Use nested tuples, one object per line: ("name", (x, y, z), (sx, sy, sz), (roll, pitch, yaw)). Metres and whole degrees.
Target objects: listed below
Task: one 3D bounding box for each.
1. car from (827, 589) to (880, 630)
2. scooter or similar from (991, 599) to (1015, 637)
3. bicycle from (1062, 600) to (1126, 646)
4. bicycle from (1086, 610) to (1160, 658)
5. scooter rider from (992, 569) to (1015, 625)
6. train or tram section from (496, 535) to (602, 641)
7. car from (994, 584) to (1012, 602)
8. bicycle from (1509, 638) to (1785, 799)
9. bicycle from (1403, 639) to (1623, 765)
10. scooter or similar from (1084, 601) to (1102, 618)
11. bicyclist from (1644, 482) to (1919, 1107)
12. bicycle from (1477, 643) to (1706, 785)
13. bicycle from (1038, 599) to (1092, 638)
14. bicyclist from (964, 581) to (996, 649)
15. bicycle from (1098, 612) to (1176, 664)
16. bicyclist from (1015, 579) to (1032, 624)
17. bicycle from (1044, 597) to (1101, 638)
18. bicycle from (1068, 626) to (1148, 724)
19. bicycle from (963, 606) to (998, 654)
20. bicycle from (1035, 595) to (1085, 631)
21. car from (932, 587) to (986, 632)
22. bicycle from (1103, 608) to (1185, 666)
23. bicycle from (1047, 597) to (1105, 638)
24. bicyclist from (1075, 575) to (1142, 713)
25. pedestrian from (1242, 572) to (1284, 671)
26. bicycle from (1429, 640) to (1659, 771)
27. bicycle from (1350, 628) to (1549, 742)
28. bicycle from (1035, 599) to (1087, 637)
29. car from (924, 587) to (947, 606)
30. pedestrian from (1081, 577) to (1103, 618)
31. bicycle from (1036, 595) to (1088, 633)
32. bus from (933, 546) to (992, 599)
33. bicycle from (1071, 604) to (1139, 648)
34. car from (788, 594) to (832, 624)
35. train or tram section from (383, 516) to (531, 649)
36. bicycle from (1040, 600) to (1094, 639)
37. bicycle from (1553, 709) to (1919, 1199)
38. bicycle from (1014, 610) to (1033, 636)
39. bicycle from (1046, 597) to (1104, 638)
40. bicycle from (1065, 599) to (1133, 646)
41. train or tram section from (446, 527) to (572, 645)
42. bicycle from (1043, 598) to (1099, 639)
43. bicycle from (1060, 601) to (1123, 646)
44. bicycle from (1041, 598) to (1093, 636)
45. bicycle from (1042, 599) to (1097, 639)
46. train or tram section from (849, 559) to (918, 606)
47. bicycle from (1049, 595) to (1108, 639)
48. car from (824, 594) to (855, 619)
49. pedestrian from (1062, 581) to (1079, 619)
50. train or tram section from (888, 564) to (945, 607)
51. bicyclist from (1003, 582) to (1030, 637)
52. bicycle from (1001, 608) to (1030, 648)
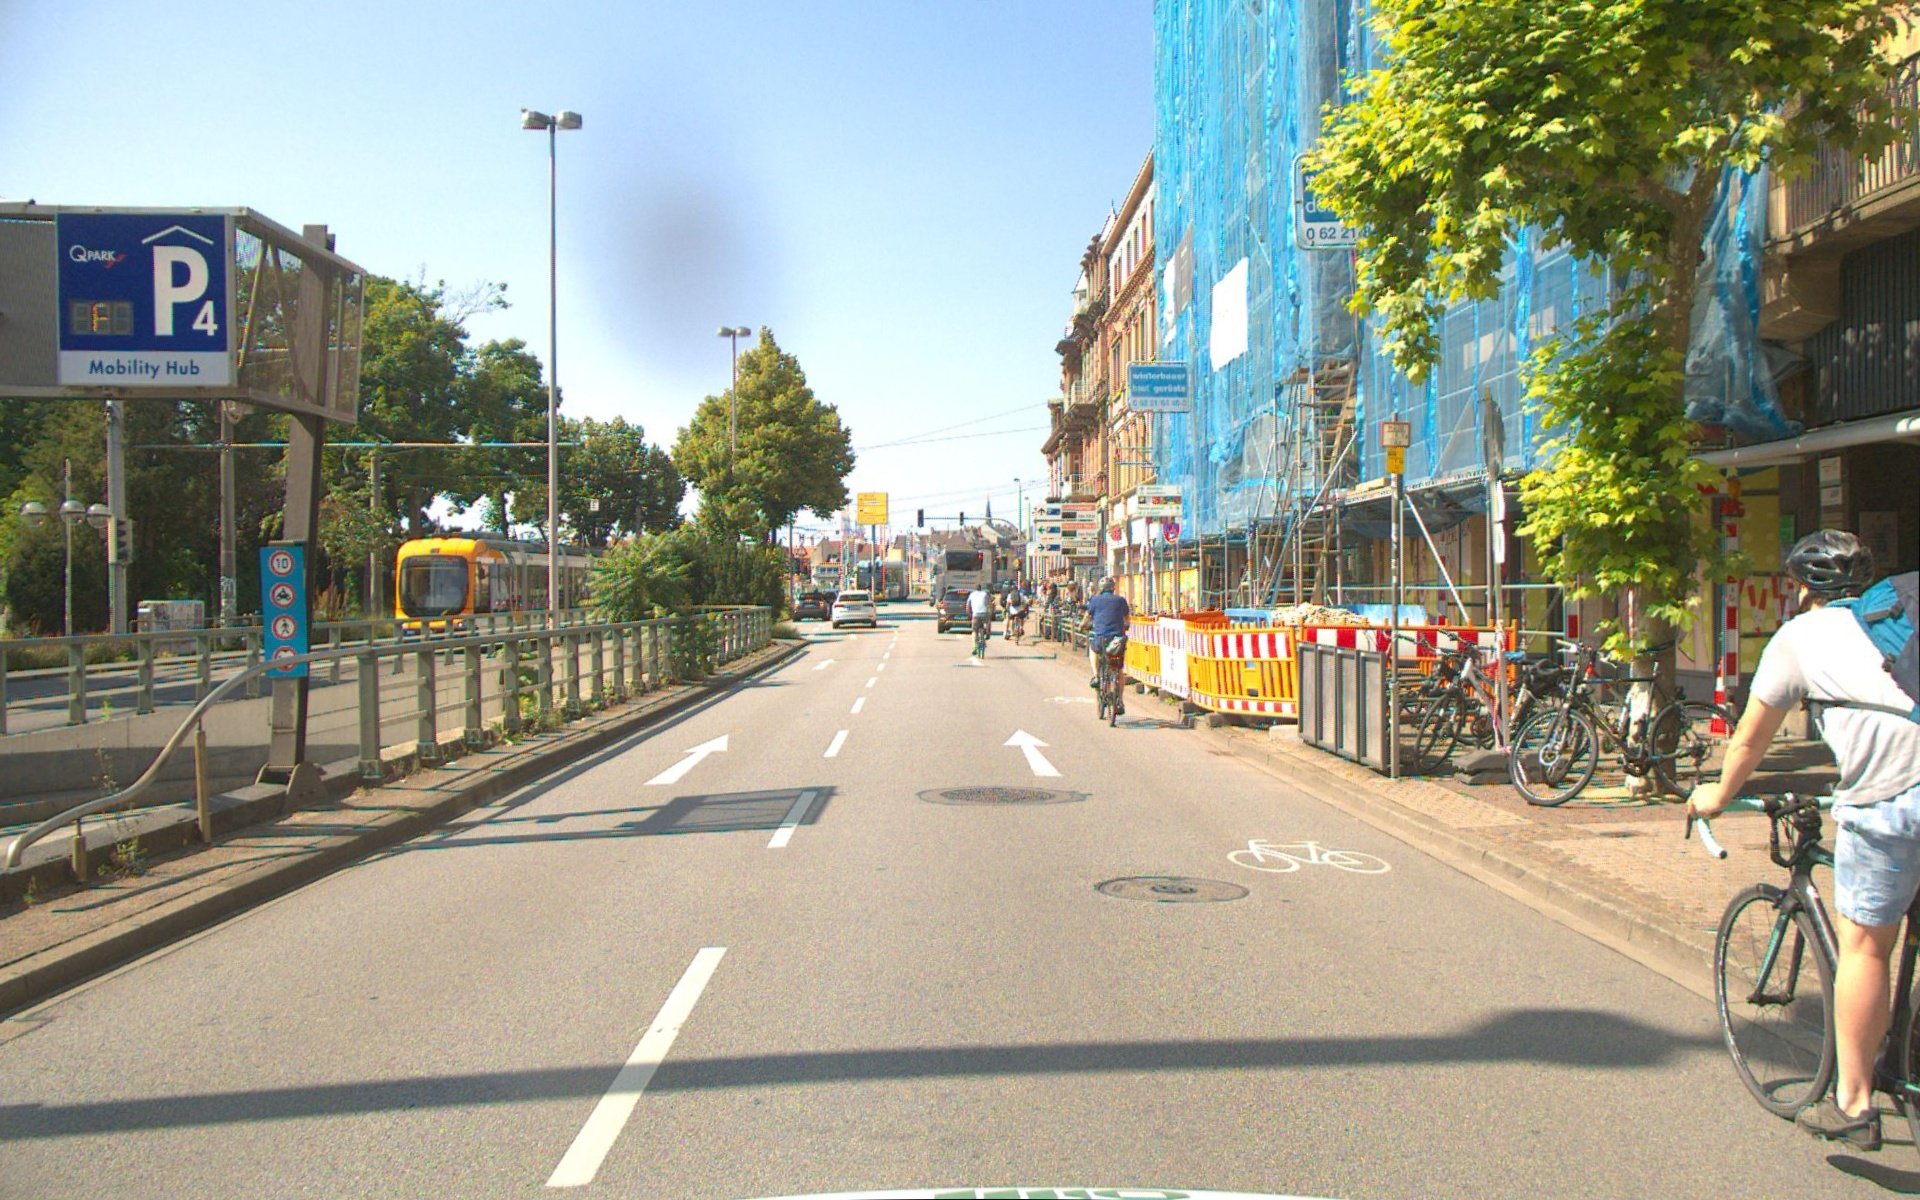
("car", (-4.226, 0.366, 65.981), (1.821, 1.533, 4.000), (2, 0, 0))
("scooter or similar", (1.368, 0.563, 53.148), (0.674, 1.188, 1.463), (2, 0, -1))
("bicycle", (3.614, 0.624, 44.536), (1.659, 1.199, 0.608), (1, -1, -1))
("bicycle", (3.922, 0.812, 39.764), (1.703, 1.128, 0.608), (1, -1, -1))
("scooter rider", (1.403, -0.101, 53.193), (0.674, 1.759, 0.778), (2, -1, -1))
("train or tram section", (-15.079, -0.407, 61.036), (2.560, 3.644, 5.355), (2, 0, -1))
("car", (4.817, -0.801, 185.060), (1.952, 1.910, 4.000), (-1, 0, 1))
("bicycle", (4.793, 0.814, 11.577), (1.718, 1.036, 0.482), (-2, 0, -3))
("bicycle", (4.675, 0.855, 14.031), (1.718, 1.036, 0.482), (0, -1, -3))
("scooter or similar", (5.545, 0.392, 68.948), (0.677, 0.661, 0.565), (-4, -1, -2))
("bicyclist", (2.482, 0.475, 4.537), (0.674, 1.488, 1.142), (2, -1, -3))
("bicycle", (4.855, 0.856, 12.710), (1.725, 1.036, 0.480), (0, -1, -17))
("bicycle", (3.342, 0.592, 52.615), (1.659, 1.199, 0.460), (1, -1, -1))
("bicyclist", (0.480, 0.356, 40.029), (0.674, 1.604, 1.049), (2, -1, -3))
("bicycle", (3.913, 0.835, 36.671), (1.659, 1.117, 0.608), (1, -1, -1))
("bicyclist", (2.834, 0.063, 73.741), (0.674, 1.996, 0.778), (2, -1, -1))
("bicycle", (3.382, 0.523, 49.848), (1.659, 1.199, 0.451), (1, -1, -1))
("bicycle", (1.810, 0.904, 20.481), (0.719, 1.112, 1.910), (2, 0, -2))
("bicycle", (0.478, 0.723, 40.073), (0.719, 1.112, 1.897), (2, 0, -2))
("bicycle", (3.354, 0.438, 55.569), (1.659, 1.199, 0.608), (-1, 0, -1))
("car", (-0.043, 0.333, 59.529), (1.835, 1.519, 4.000), (2, 0, 0))
("bicycle", (3.914, 0.787, 35.248), (1.659, 1.199, 0.608), (1, -1, -1))
("bicycle", (3.409, 0.514, 48.742), (1.659, 1.199, 0.497), (1, -1, -1))
("bicyclist", (1.826, 0.531, 20.415), (0.674, 1.644, 0.918), (2, -1, -2))
("pedestrian", (5.650, 0.405, 30.859), (0.626, 1.807, 0.649), (2, -1, -1))
("bicycle", (4.752, 0.851, 13.501), (1.718, 1.036, 0.482), (0, -1, -3))
("bicycle", (4.558, 0.787, 15.443), (1.718, 1.036, 0.482), (0, -1, -3))
("bicycle", (3.348, 0.593, 54.937), (1.659, 1.199, 0.608), (-2, 0, -1))
("car", (-1.760, -0.240, 119.812), (1.421, 1.323, 3.343), (2, 0, 4))
("pedestrian", (5.538, -0.089, 69.538), (0.740, 1.684, 0.837), (-3, -1, -2))
("bicycle", (3.344, 0.446, 54.282), (1.659, 1.199, 0.608), (-1, 0, -1))
("bus", (0.057, -1.520, 96.837), (2.910, 2.825, 8.635), (2, 0, -3))
("bicycle", (3.704, 0.659, 42.309), (1.659, 1.106, 0.608), (1, -1, -1))
("car", (-7.366, 0.448, 81.737), (1.778, 1.355, 4.000), (2, 0, 0))
("train or tram section", (-14.818, -0.468, 49.194), (2.561, 3.644, 6.101), (2, 0, -1))
("bicycle", (3.374, 0.605, 52.083), (1.659, 1.199, 0.459), (1, -1, -1))
("bicycle", (2.444, 0.934, 4.610), (0.719, 1.112, 2.129), (2, 0, -2))
("bicycle", (2.823, 1.009, 73.797), (0.719, 1.112, 1.897), (2, 0, 0))
("bicycle", (3.423, 0.519, 49.307), (1.659, 1.199, 0.490), (1, -1, -1))
("bicycle", (3.657, 0.584, 43.570), (1.735, 1.199, 0.608), (1, -1, -1))
("train or tram section", (-14.957, -0.437, 55.288), (2.560, 3.644, 6.101), (2, 0, -1))
("bicycle", (3.384, 0.568, 50.403), (1.659, 1.199, 0.463), (1, -1, -1))
("bicycle", (3.595, 0.632, 45.257), (1.659, 1.199, 0.608), (1, -1, -1))
("bicycle", (3.474, 0.550, 53.689), (1.659, 1.199, 0.469), (1, -1, -1))
("bicycle", (3.368, 0.577, 50.958), (1.659, 1.199, 0.457), (1, -1, -1))
("train or tram section", (-6.426, -1.435, 141.647), (2.763, 3.644, 10.038), (1, 0, 16))
("bicycle", (3.433, 0.493, 48.131), (1.659, 1.262, 0.608), (1, -1, -1))
("car", (-6.622, 0.354, 91.240), (1.422, 1.323, 4.000), (2, 0, 0))
("pedestrian", (4.868, -0.011, 73.093), (0.641, 1.649, 0.815), (-1, 1, -3))
("train or tram section", (-3.923, -1.307, 150.439), (2.763, 3.644, 8.231), (1, 0, 16))
("bicyclist", (1.645, 0.278, 48.584), (0.674, 1.604, 1.049), (2, -1, -3))
("bicycle", (1.628, 0.813, 48.648), (0.719, 1.112, 1.897), (2, 1, -2))
